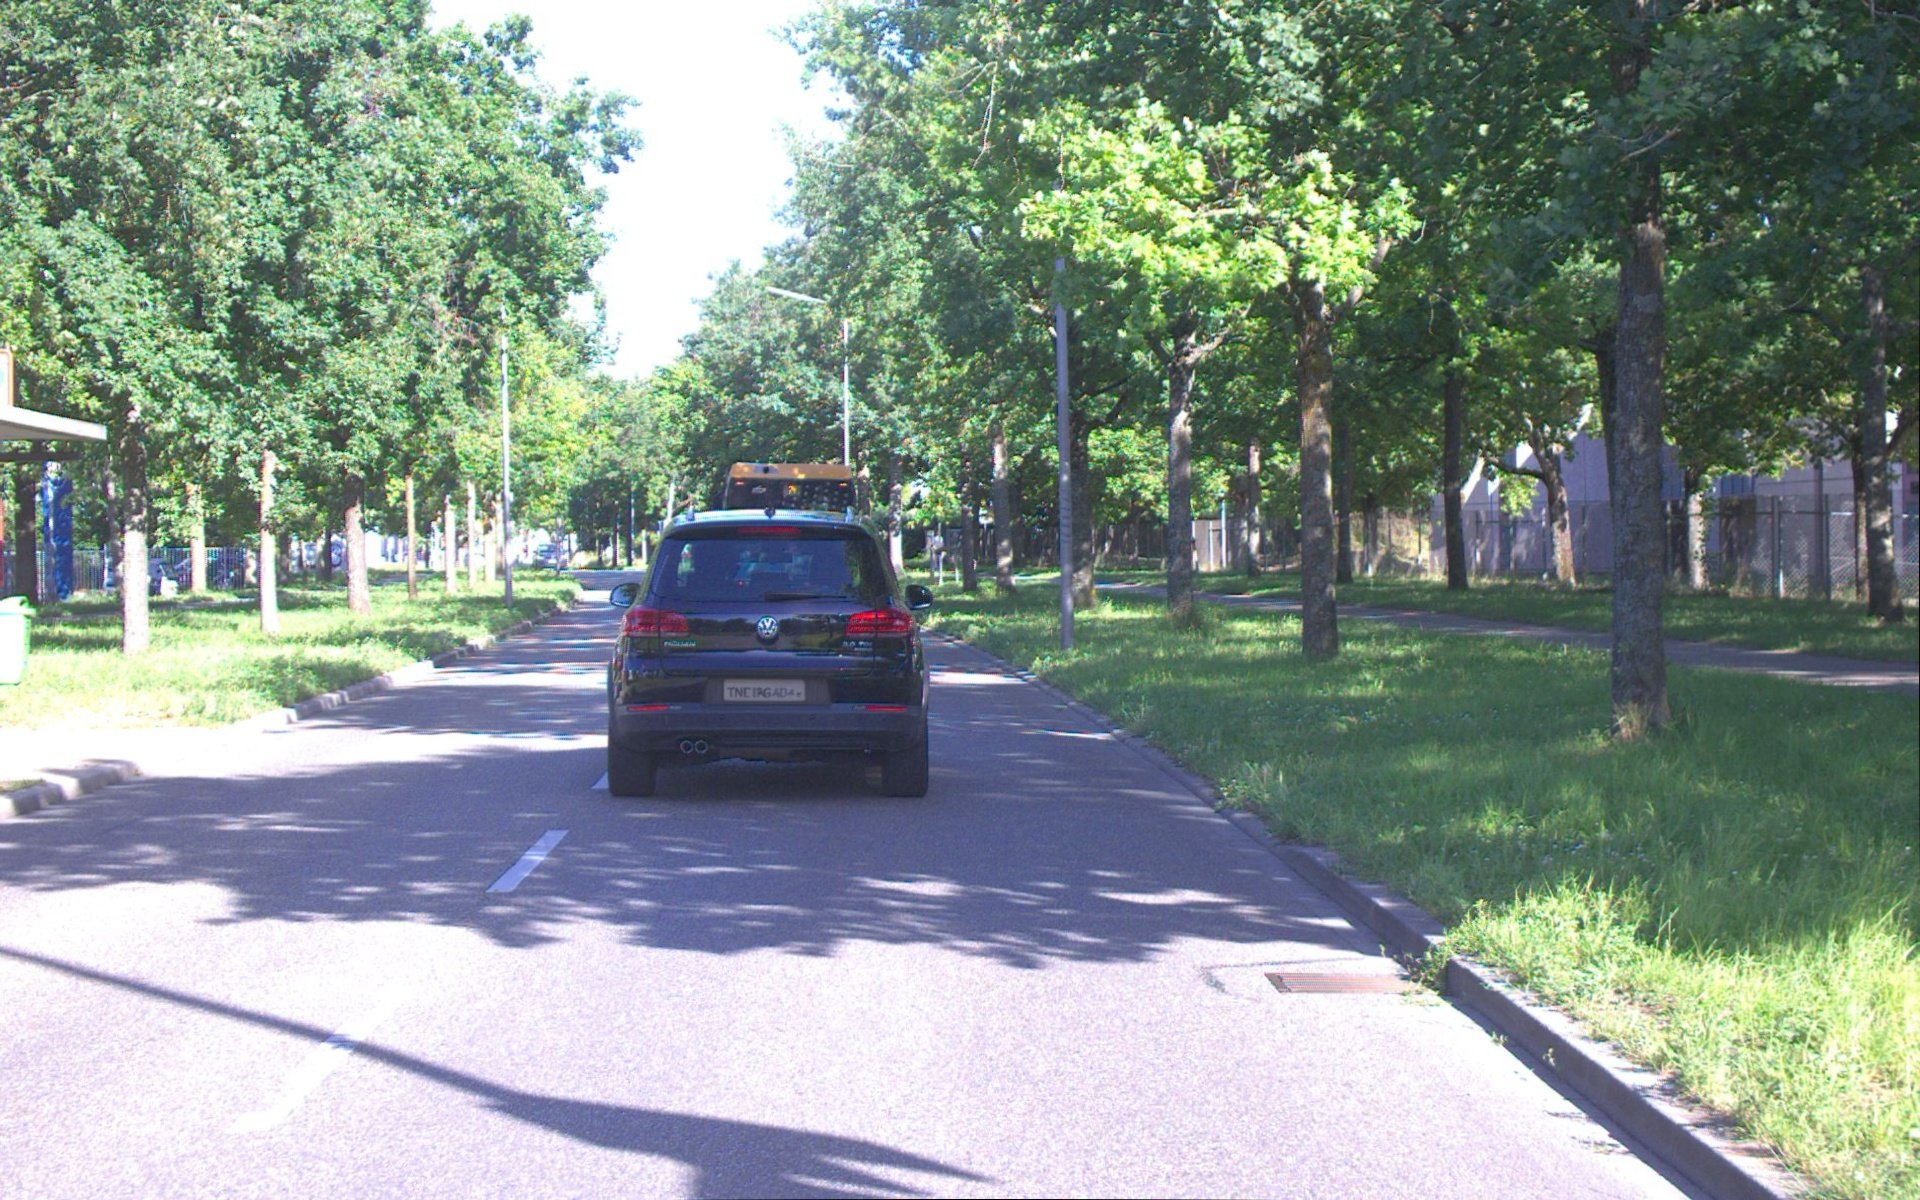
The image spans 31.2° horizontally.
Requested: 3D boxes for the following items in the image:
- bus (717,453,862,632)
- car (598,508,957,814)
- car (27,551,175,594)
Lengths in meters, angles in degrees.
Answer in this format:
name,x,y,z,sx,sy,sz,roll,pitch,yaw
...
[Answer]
name,x,y,z,sx,sy,sz,roll,pitch,yaw
bus,-3.500,-1.236,72.533,2.764,3.444,11.212,-1,1,-2
car,-1.097,0.281,20.964,1.936,1.650,4.428,1,1,-3
car,-27.526,-0.885,110.293,4.198,1.317,1.941,-1,1,3
